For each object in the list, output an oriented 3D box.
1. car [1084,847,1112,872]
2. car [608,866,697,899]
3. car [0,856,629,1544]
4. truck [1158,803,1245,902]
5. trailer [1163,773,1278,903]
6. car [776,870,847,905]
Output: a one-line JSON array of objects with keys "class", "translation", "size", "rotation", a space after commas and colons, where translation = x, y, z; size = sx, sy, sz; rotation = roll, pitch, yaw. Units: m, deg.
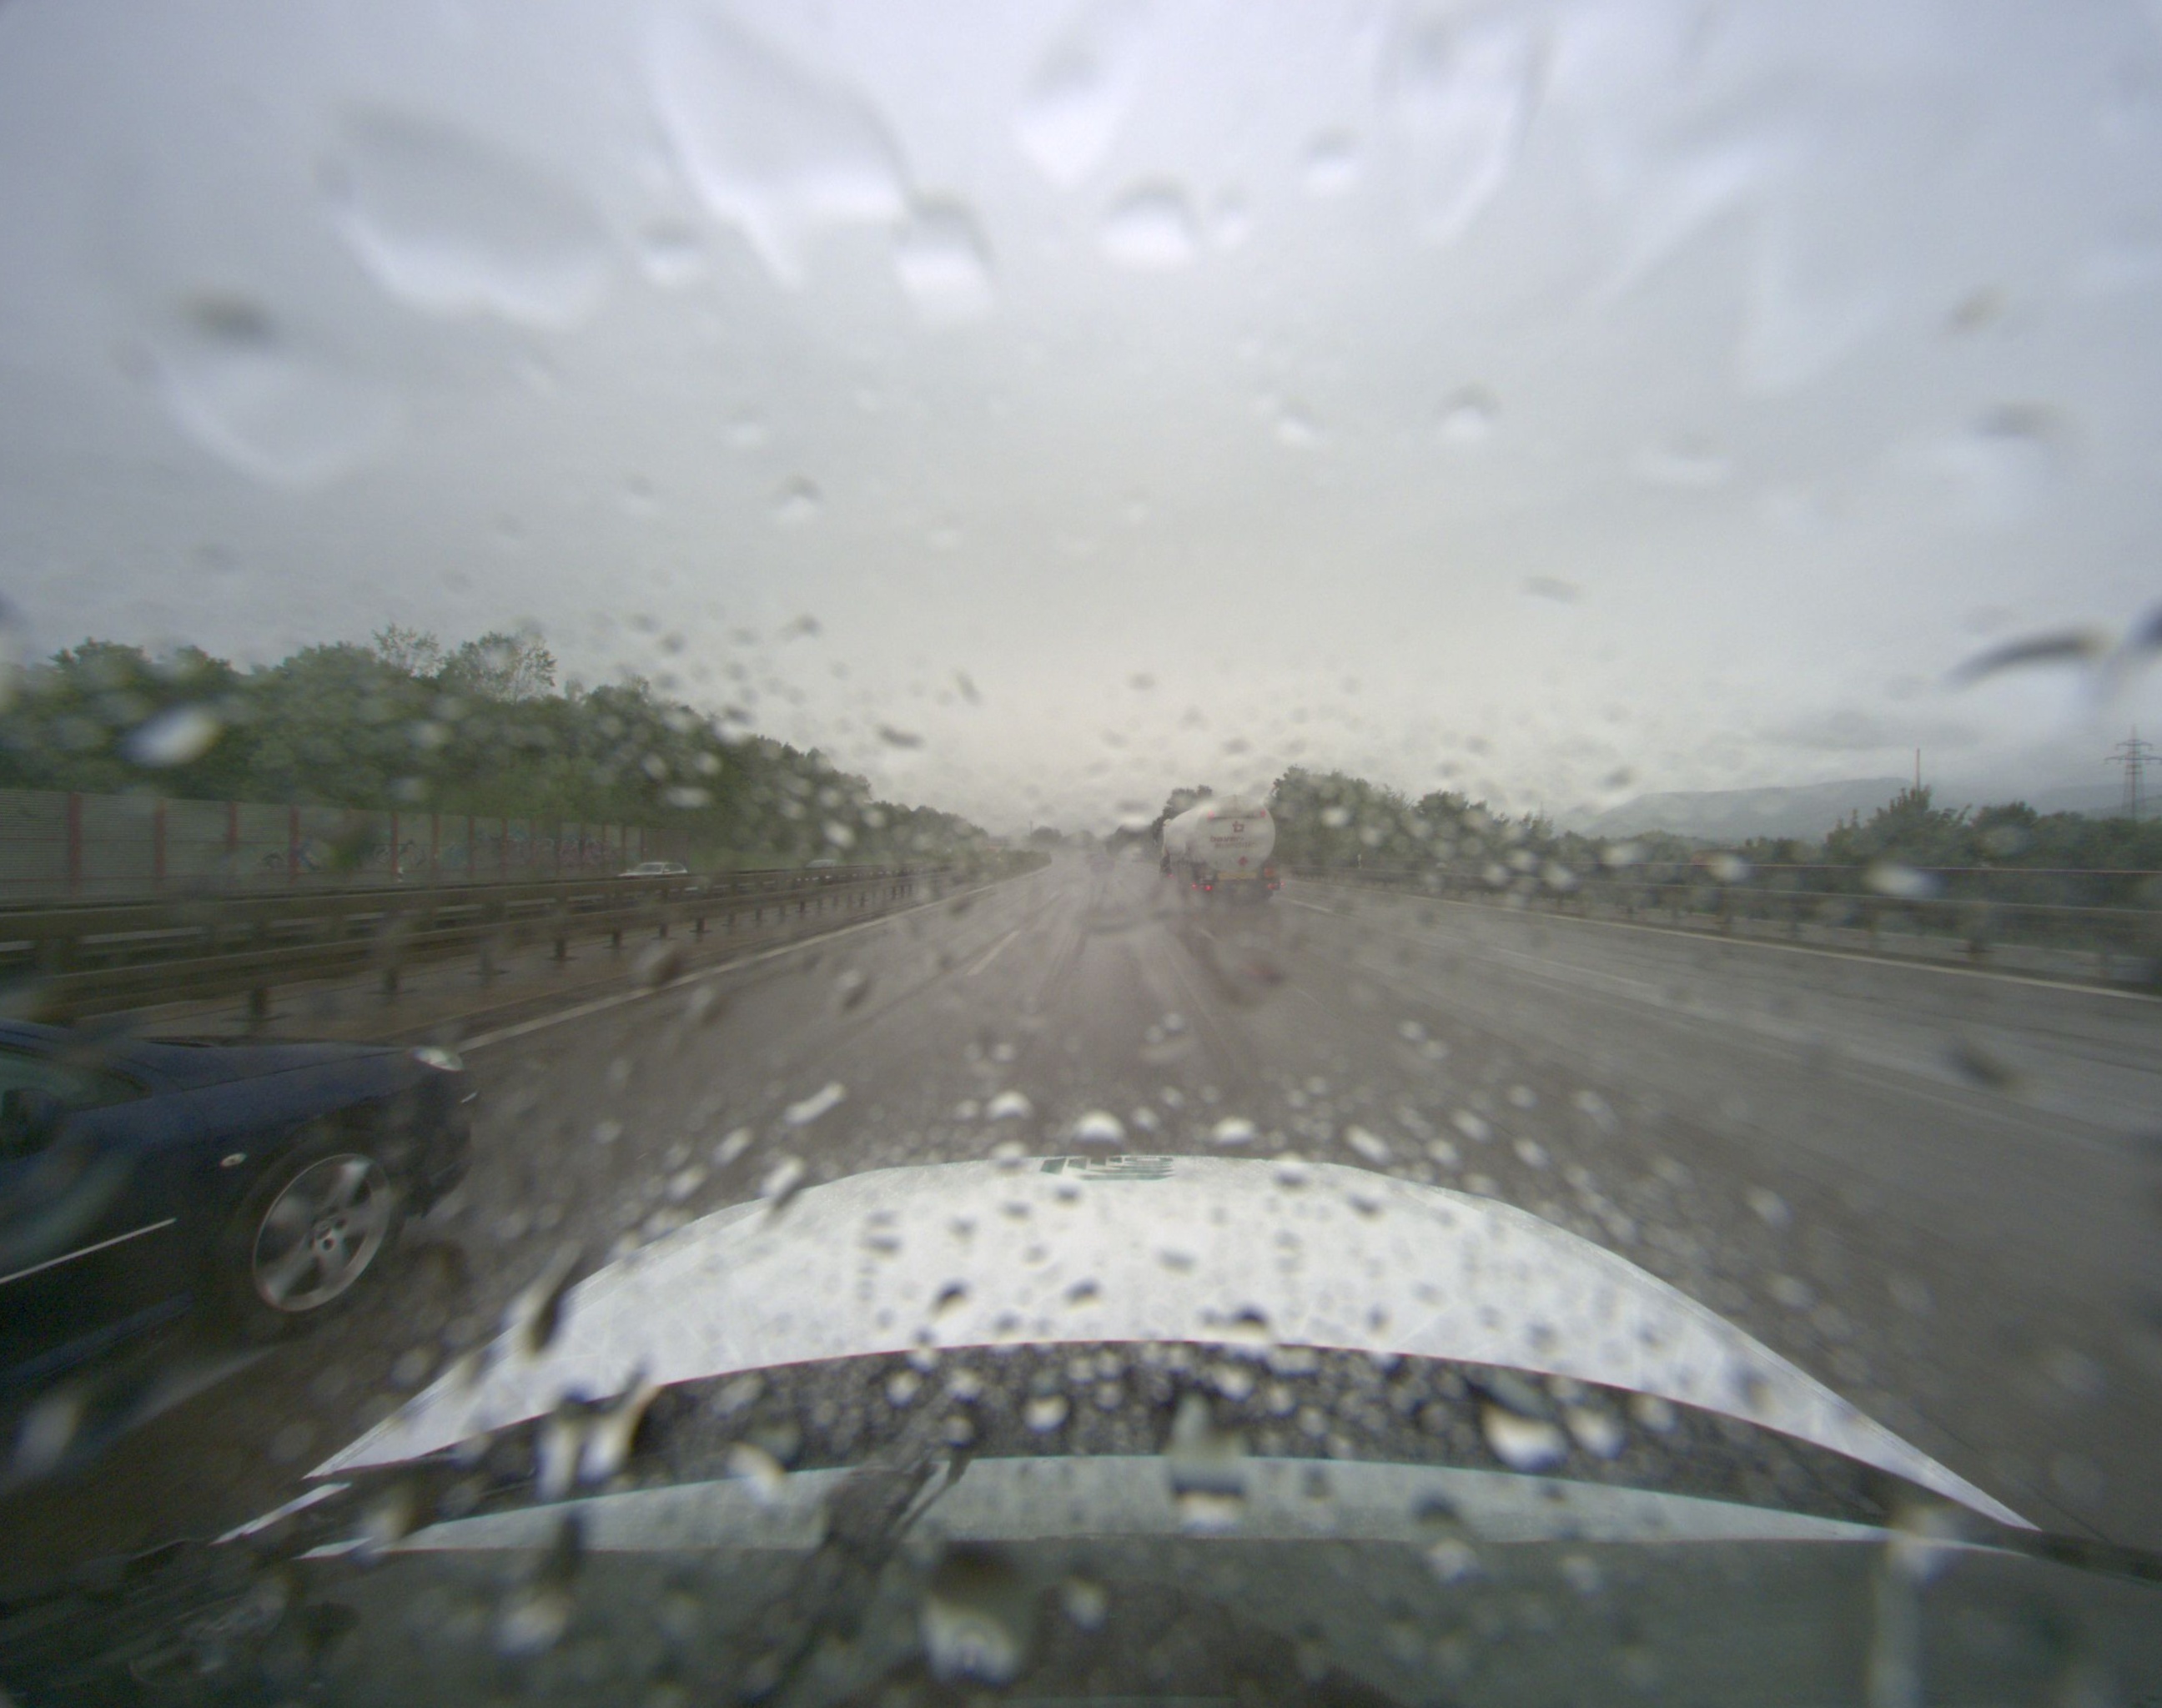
[{"class": "car", "translation": [1.223, 0.357, 61.032], "size": [1.973, 1.756, 4.480], "rotation": [-1, 1, -1]}, {"class": "car", "translation": [-20.795, 1.344, 39.802], "size": [1.979, 1.471, 4.721], "rotation": [-1, 0, -3]}, {"class": "car", "translation": [-3.407, 0.782, 1.561], "size": [2.046, 1.485, 5.160], "rotation": [-1, 0, 2]}, {"class": "truck", "translation": [4.880, -0.038, 34.161], "size": [2.932, 3.684, 6.365], "rotation": [-1, 0, 2]}, {"class": "trailer", "translation": [4.637, -0.482, 28.910], "size": [2.992, 3.848, 8.630], "rotation": [-1, 0, 3]}, {"class": "car", "translation": [-13.127, 1.587, 39.967], "size": [1.979, 1.471, 4.723], "rotation": [-1, 0, -1]}]
